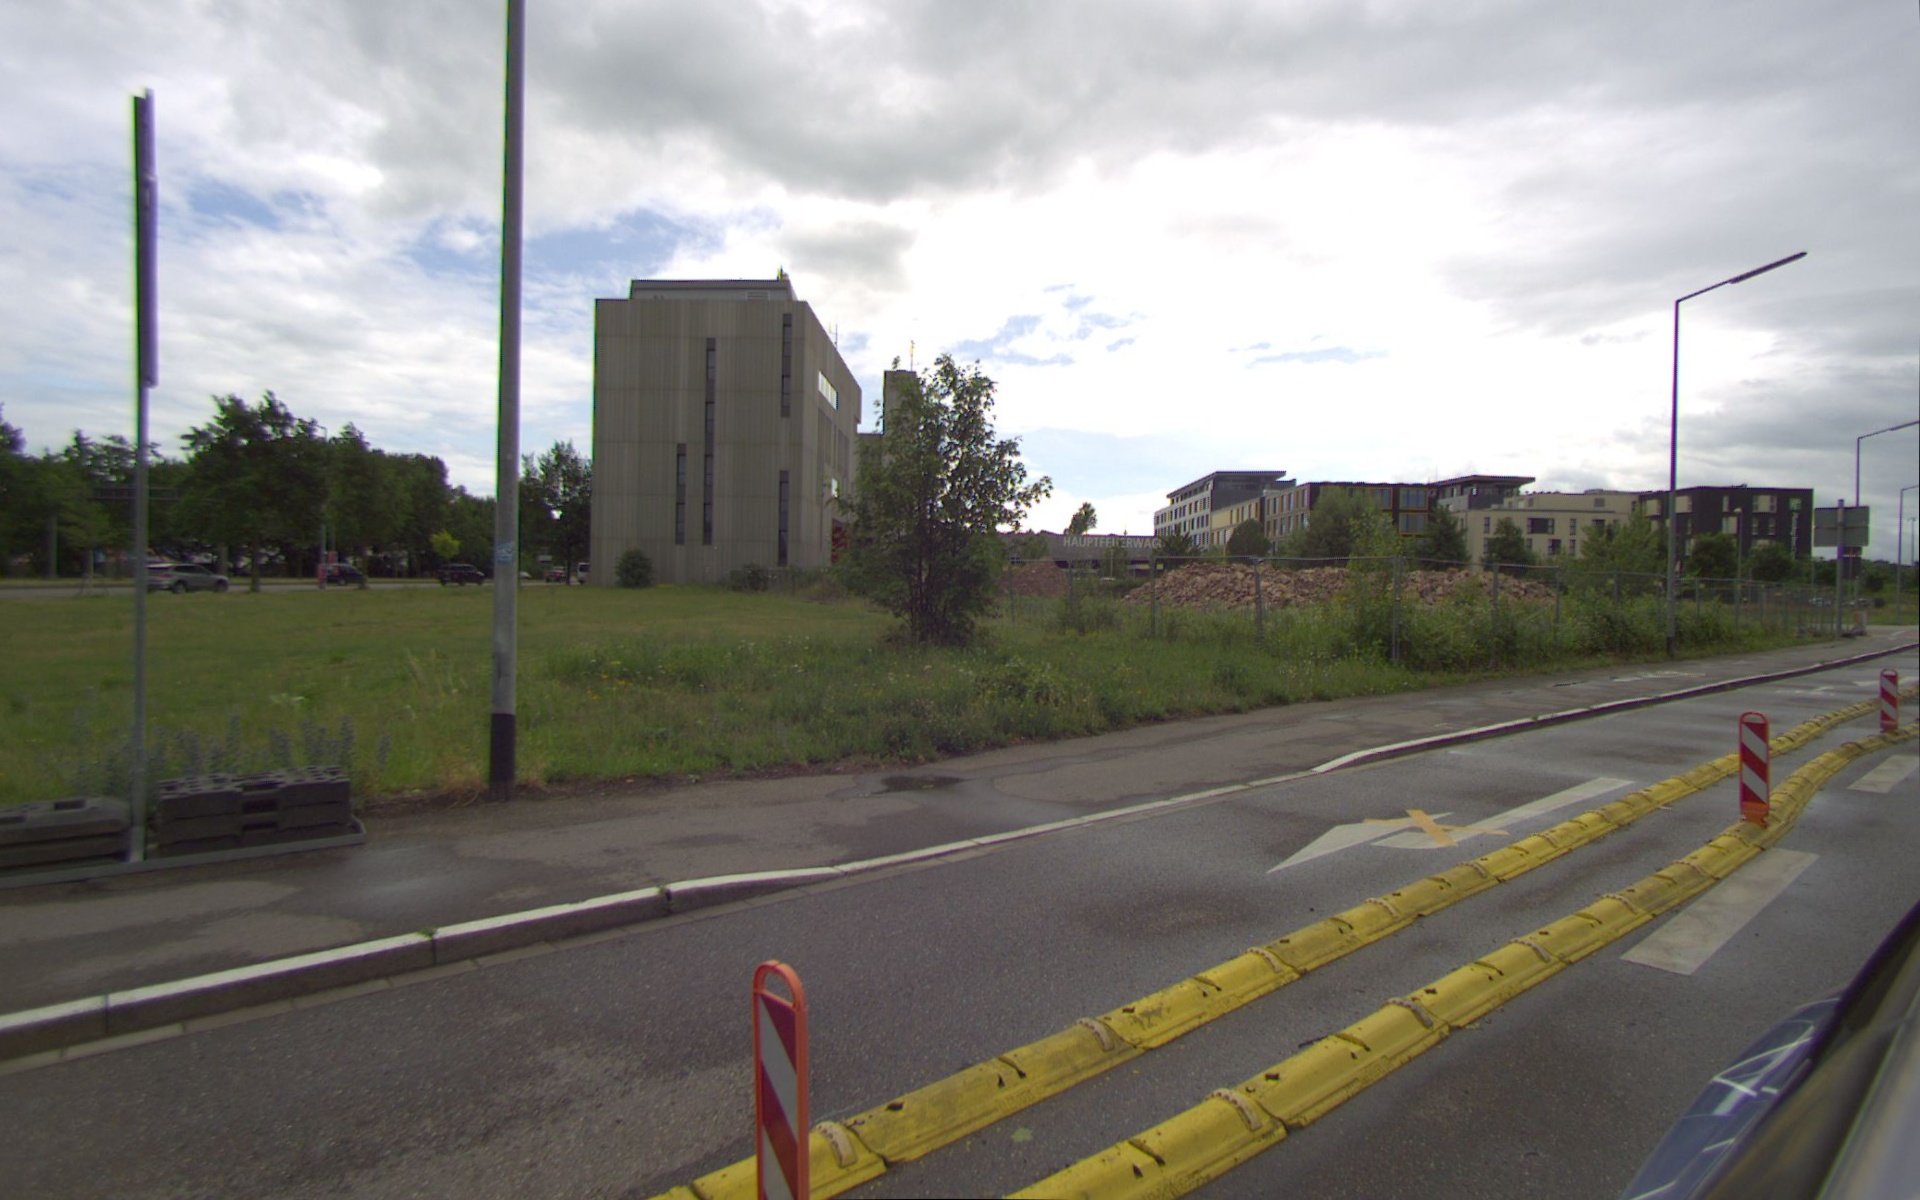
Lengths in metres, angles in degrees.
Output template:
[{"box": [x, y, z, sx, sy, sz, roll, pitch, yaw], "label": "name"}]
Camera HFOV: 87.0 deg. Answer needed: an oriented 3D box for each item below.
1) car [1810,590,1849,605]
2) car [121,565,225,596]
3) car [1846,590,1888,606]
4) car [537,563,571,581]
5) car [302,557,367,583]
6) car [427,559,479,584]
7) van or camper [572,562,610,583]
[{"box": [127.362, -0.344, 148.238, 3.925, 2.039, 2.000, 1, 1, 1], "label": "car"}, {"box": [-40.588, -1.023, 52.342, 1.877, 1.482, 4.320, 1, 1, 3], "label": "car"}, {"box": [126.205, -0.290, 140.888, 3.925, 2.039, 2.000, 1, 1, 1], "label": "car"}, {"box": [-46.040, -3.159, 114.845, 1.964, 1.872, 3.997, 1, 1, 3], "label": "car"}, {"box": [-46.472, -2.191, 75.328, 2.041, 1.836, 4.204, 1, 1, 4], "label": "car"}, {"box": [-43.263, -2.426, 86.478, 2.180, 1.996, 5.047, 1, 1, -4], "label": "car"}, {"box": [-39.535, -2.922, 108.501, 1.963, 2.142, 5.551, 1, 1, 1], "label": "van or camper"}]
